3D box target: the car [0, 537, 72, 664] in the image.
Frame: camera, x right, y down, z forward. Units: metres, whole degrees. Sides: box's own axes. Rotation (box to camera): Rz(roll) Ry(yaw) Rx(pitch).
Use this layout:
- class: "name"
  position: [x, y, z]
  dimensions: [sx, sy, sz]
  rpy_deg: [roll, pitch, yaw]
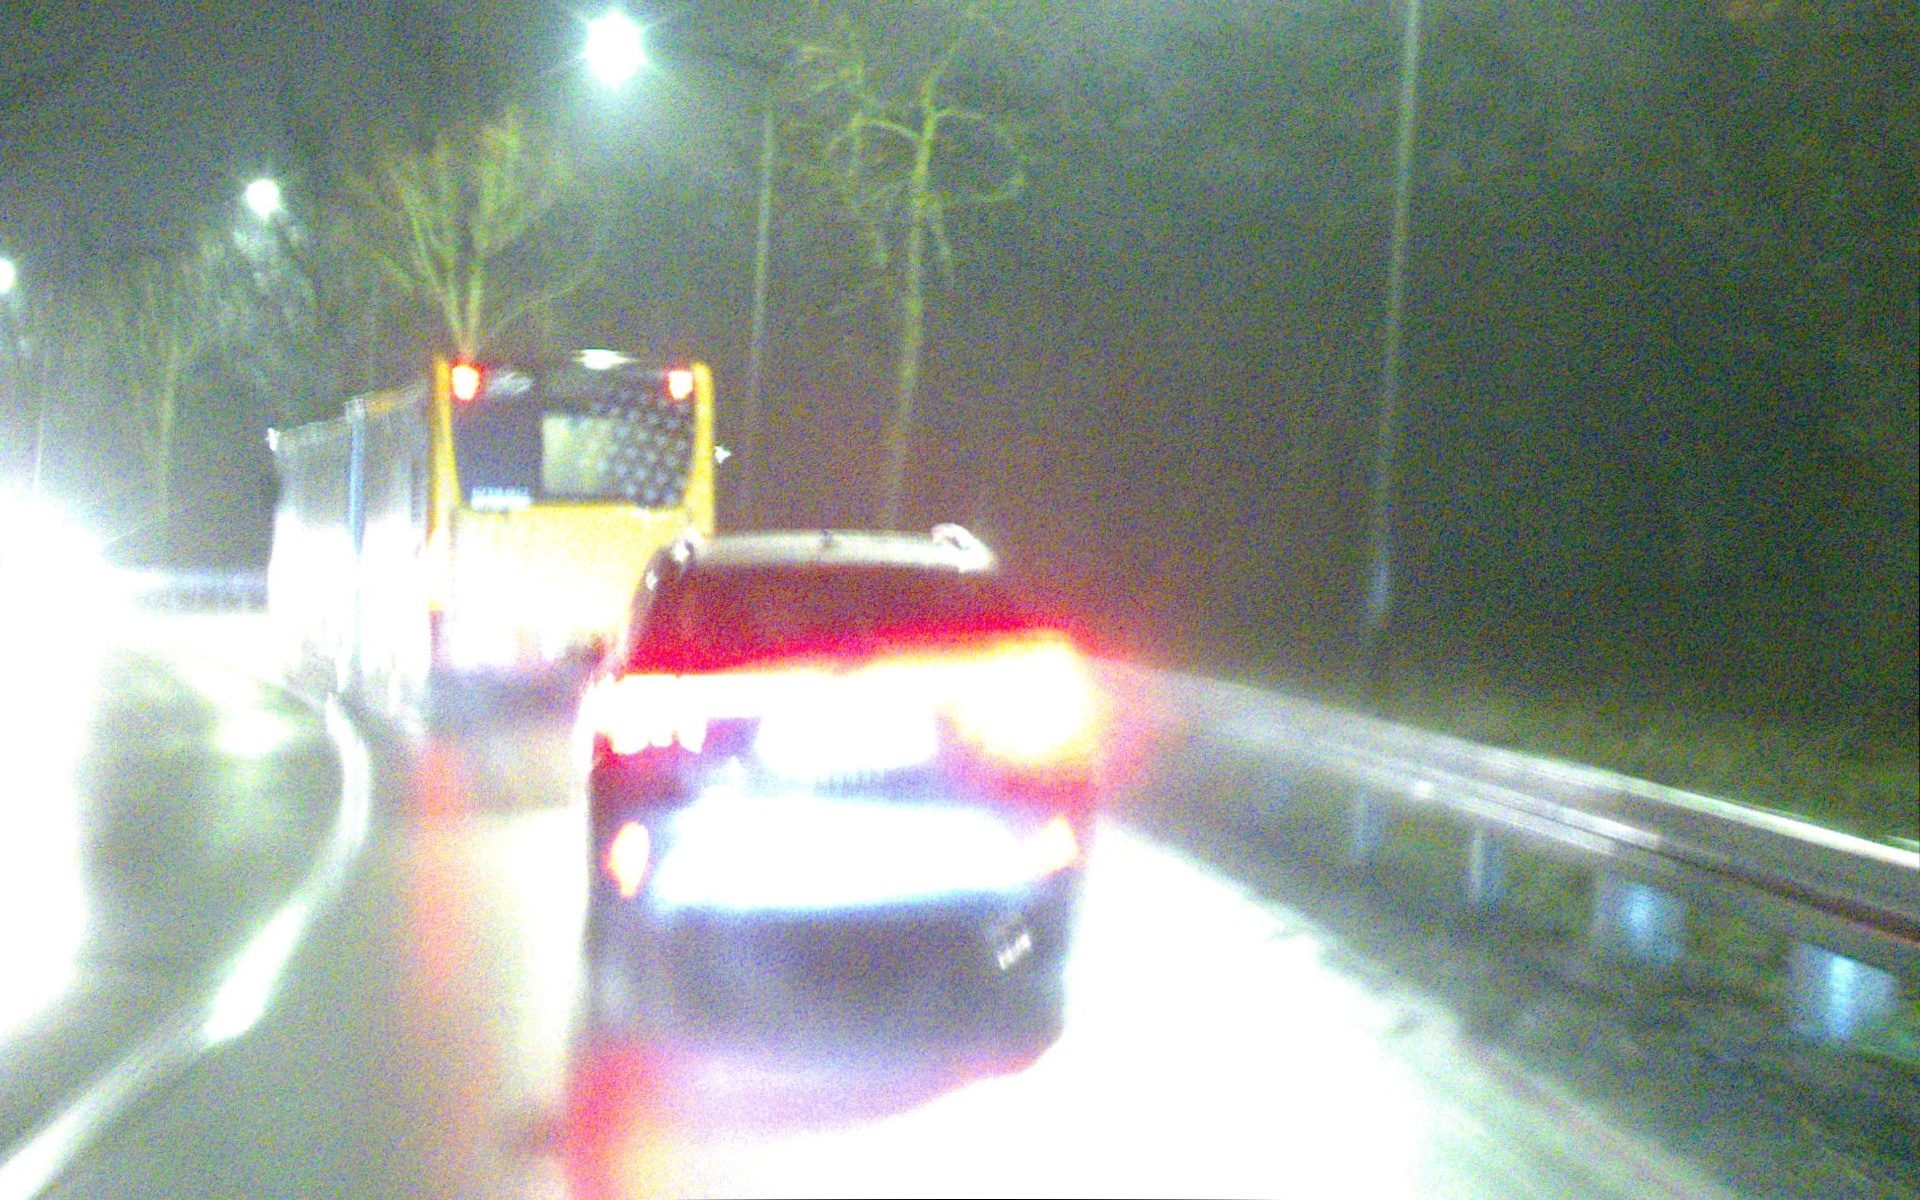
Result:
- class: "car"
  position: [-16.183, -0.042, 57.060]
  dimensions: [2.448, 1.981, 5.496]
  rpy_deg: [0, 1, -18]

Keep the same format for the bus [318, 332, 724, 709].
- class: "bus"
  position: [-4.581, -0.778, 33.996]
  dimensions: [3.042, 3.201, 9.053]
  rpy_deg: [-1, 1, -13]

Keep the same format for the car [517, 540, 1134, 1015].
- class: "car"
  position: [-0.572, 0.548, 13.190]
  dimensions: [1.993, 1.519, 4.001]
  rpy_deg: [1, 1, -4]

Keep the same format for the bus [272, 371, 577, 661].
- class: "bus"
  position: [-6.846, -1.033, 42.791]
  dimensions: [3.042, 3.201, 9.053]
  rpy_deg: [-1, 1, -13]
